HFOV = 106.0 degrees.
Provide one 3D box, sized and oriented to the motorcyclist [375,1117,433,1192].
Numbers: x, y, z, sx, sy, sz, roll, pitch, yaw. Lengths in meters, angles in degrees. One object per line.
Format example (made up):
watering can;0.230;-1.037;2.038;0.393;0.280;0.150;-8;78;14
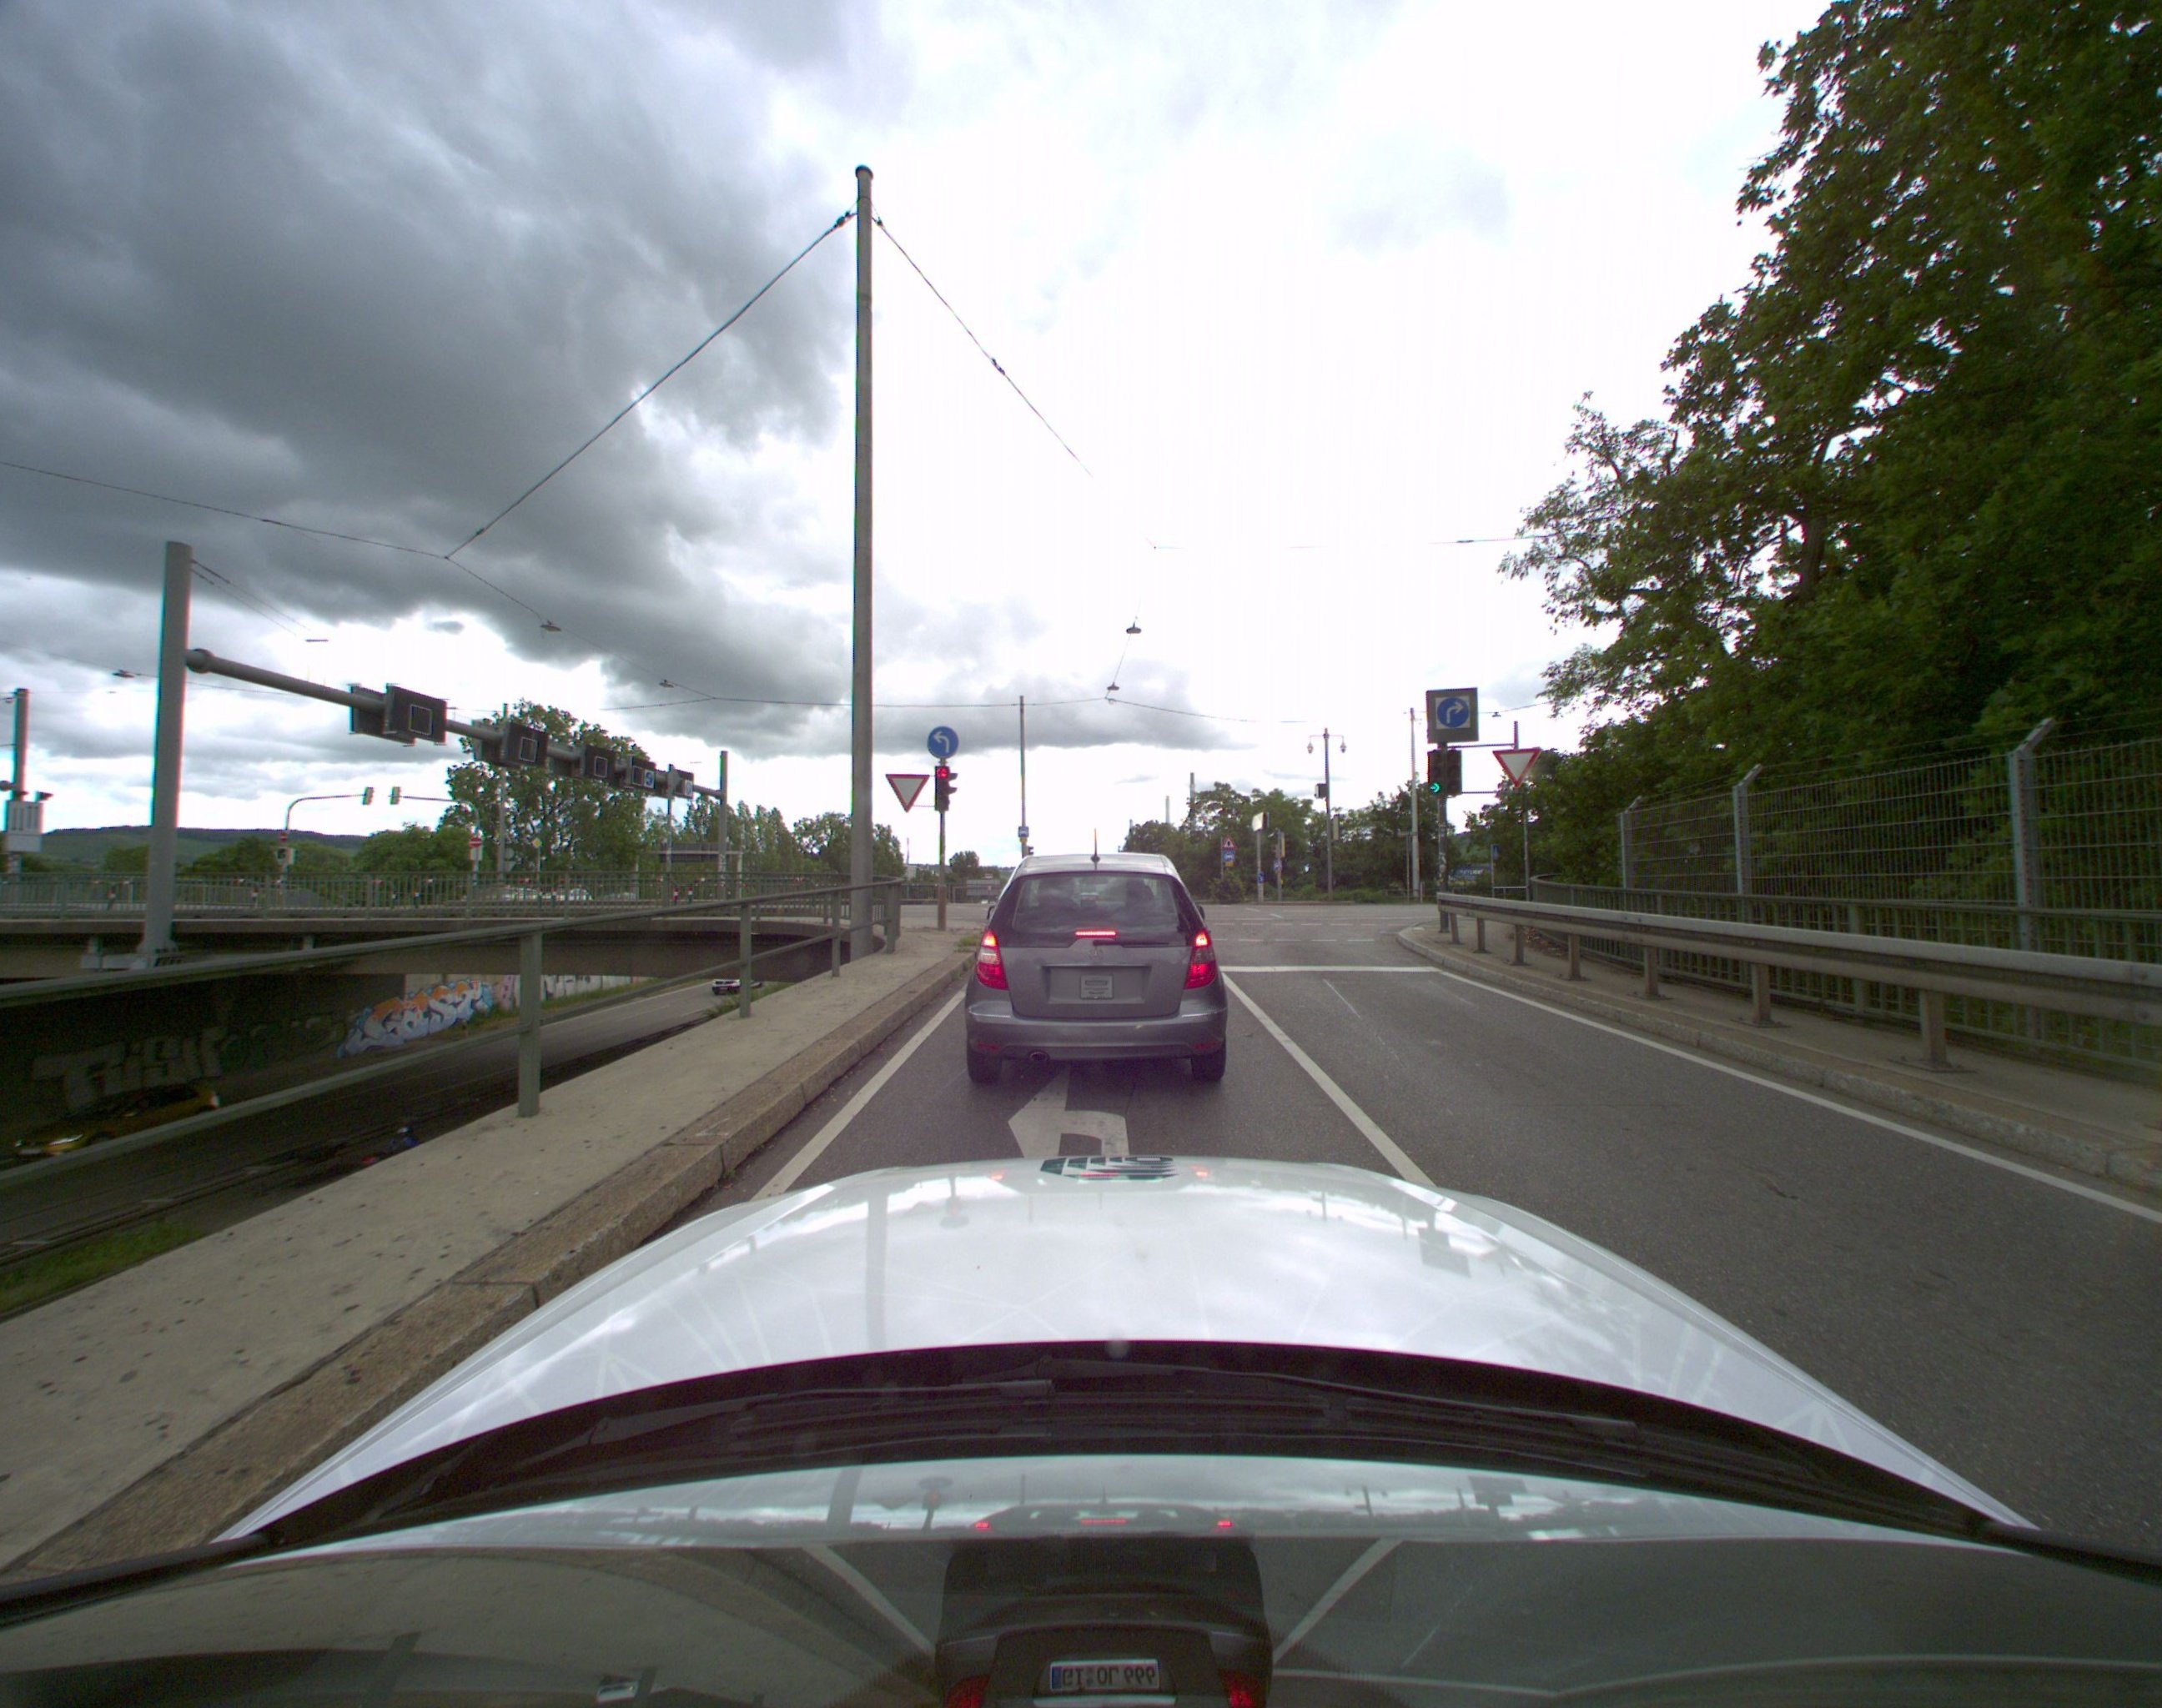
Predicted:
motorcyclist;-14.982;6.638;18.037;0.591;1.372;0.762;-1;-3;3

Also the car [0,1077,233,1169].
car;-28.247;7.838;24.086;1.861;1.457;4.154;-2;-3;2

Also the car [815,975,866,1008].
car;-14.847;8.465;50.490;1.611;1.422;4.418;-2;-3;3

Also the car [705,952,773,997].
car;-24.865;8.717;59.427;2.158;2.595;6.104;-2;-3;2

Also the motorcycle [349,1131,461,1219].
motorcycle;-14.971;7.086;18.129;0.591;1.203;2.127;-1;-3;3

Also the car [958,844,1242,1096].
car;0.177;0.729;6.780;1.733;1.543;3.542;0;-1;2
